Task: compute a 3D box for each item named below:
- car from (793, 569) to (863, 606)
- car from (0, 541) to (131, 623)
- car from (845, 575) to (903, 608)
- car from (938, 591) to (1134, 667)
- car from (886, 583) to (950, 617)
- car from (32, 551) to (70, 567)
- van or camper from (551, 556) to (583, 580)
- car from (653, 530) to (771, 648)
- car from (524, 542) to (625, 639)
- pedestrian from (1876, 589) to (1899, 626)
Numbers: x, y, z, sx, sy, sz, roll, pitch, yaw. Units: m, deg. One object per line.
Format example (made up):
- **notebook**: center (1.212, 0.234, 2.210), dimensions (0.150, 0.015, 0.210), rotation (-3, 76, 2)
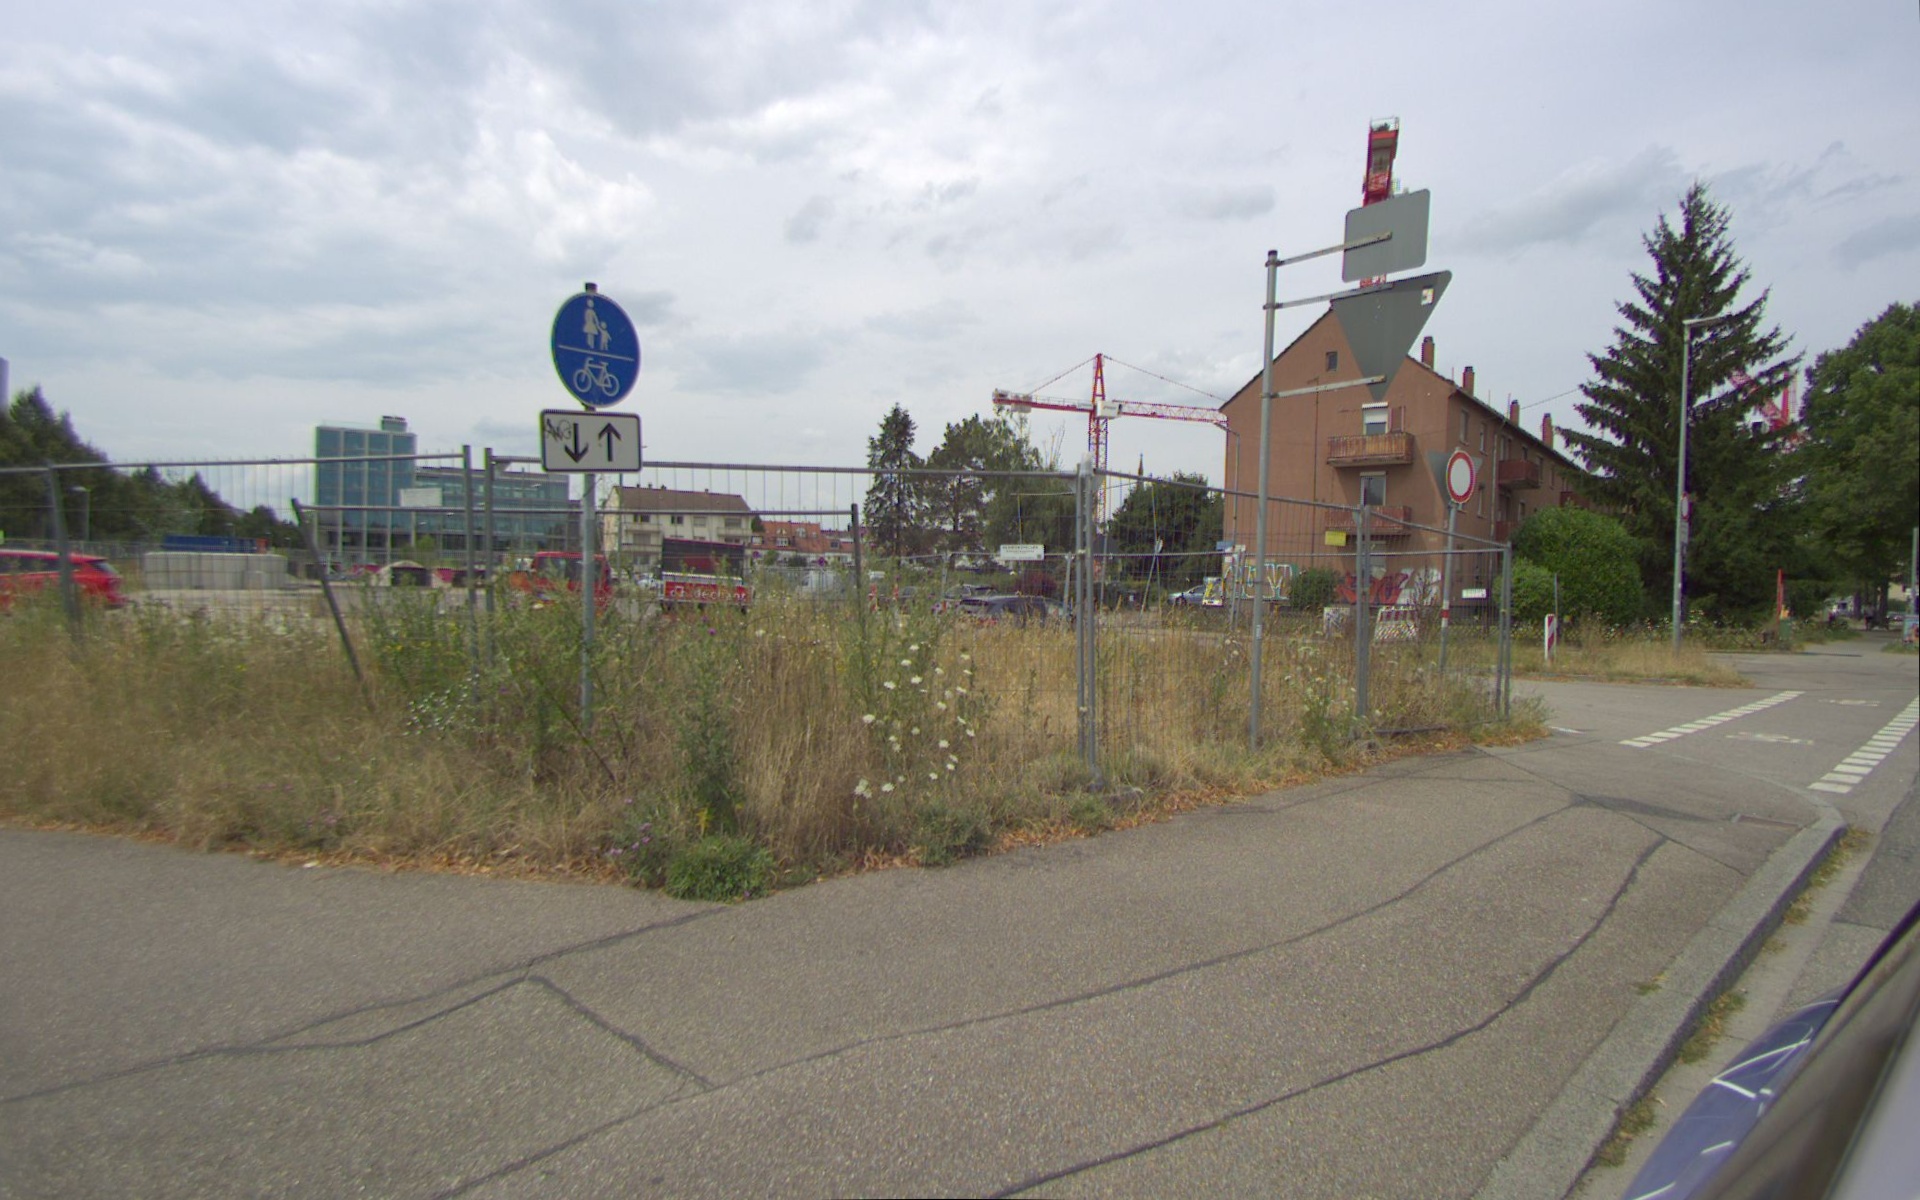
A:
- **car**: center (-8.140, -0.811, 62.076), dimensions (2.107, 2.163, 4.909), rotation (1, 1, -36)
- **car**: center (-19.911, -0.385, 20.237), dimensions (5.043, 1.624, 1.789), rotation (1, 1, -37)
- **car**: center (-4.918, -0.484, 57.392), dimensions (1.820, 1.771, 4.019), rotation (1, 1, -29)
- **car**: center (1.737, 0.601, 22.420), dimensions (4.179, 1.492, 1.767), rotation (1, 1, -37)
- **car**: center (-2.248, -0.028, 53.040), dimensions (1.765, 1.622, 4.020), rotation (1, 1, -28)
- **car**: center (-87.375, -3.921, 97.339), dimensions (1.960, 1.391, 4.005), rotation (1, 1, -30)
- **van or camper**: center (-46.267, -3.785, 119.153), dimensions (2.307, 2.721, 5.247), rotation (1, 1, -34)
- **car**: center (-6.144, -0.293, 24.415), dimensions (2.269, 2.442, 6.557), rotation (1, 1, -18)
- **car**: center (-9.011, -0.243, 23.934), dimensions (1.896, 1.934, 4.999), rotation (4, 0, -19)
- **pedestrian**: center (52.968, 0.414, 57.803), dimensions (0.852, 2.039, 0.721), rotation (2, 0, 39)
